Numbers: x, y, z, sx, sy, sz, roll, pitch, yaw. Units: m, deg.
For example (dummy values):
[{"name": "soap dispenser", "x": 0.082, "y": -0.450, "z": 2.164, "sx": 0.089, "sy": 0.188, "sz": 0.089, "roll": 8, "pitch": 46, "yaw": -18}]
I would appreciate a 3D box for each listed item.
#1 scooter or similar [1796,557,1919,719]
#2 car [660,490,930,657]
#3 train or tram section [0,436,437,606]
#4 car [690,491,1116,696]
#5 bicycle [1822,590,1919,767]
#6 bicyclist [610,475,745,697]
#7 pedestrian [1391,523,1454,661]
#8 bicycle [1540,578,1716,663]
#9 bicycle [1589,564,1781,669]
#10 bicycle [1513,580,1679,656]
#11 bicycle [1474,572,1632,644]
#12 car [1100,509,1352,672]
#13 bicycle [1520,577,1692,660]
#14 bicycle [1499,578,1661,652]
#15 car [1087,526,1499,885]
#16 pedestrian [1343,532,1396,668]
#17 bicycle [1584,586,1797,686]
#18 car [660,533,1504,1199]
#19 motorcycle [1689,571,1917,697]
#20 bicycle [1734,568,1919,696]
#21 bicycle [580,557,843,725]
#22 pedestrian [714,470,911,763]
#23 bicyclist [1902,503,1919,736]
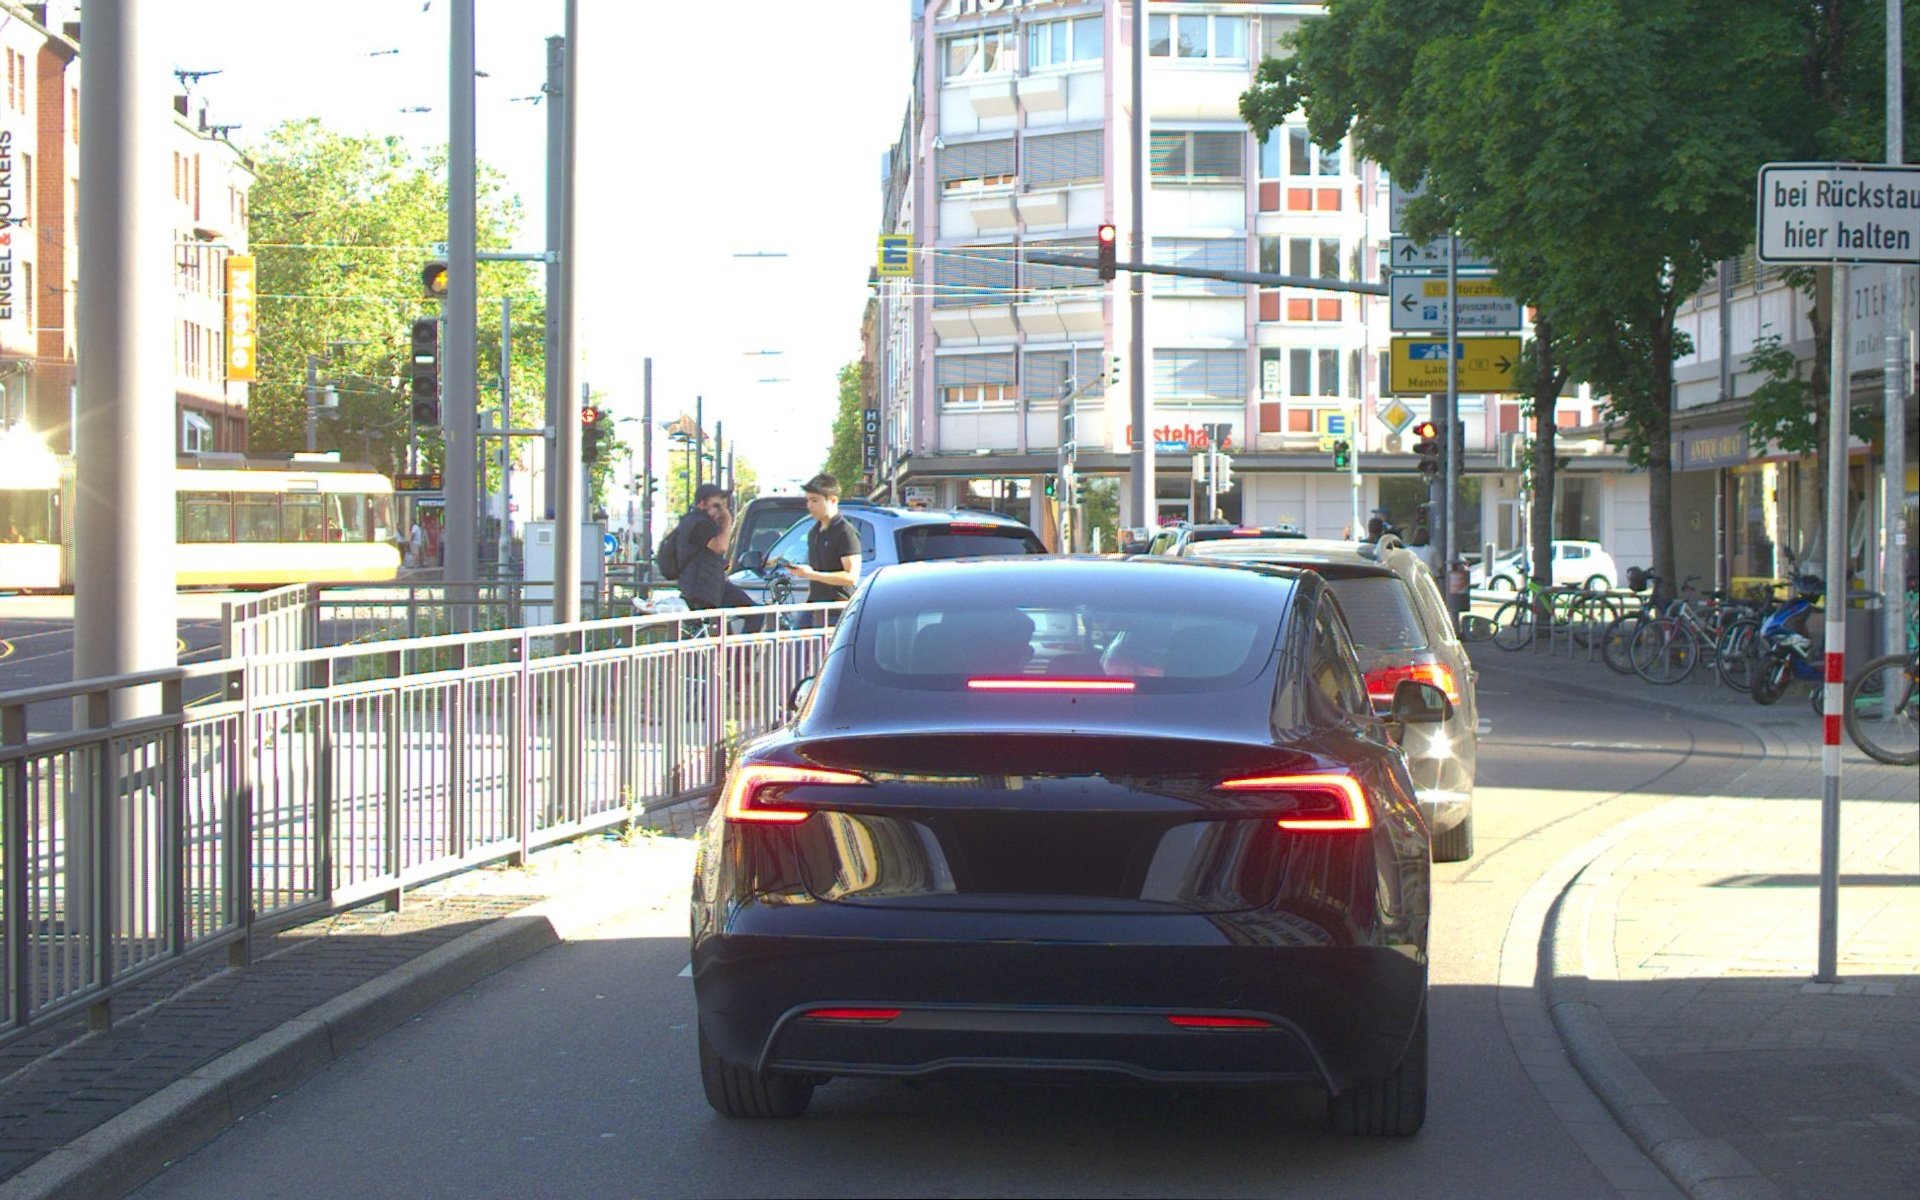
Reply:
[{"name": "scooter or similar", "x": 7.704, "y": 0.309, "z": 28.469, "sx": 1.408, "sy": 1.312, "sz": 0.696, "roll": 0, "pitch": -1, "yaw": -27}, {"name": "car", "x": -1.728, "y": -0.288, "z": 34.527, "sx": 1.824, "sy": 1.514, "sz": 4.219, "roll": 2, "pitch": 1, "yaw": -15}, {"name": "train or tram section", "x": -18.612, "y": -1.789, "z": 83.704, "sx": 2.641, "sy": 3.706, "sz": 15.361, "roll": 2, "pitch": 1, "yaw": 29}, {"name": "car", "x": -0.564, "y": -0.097, "z": 28.236, "sx": 1.783, "sy": 1.514, "sz": 4.219, "roll": 2, "pitch": 1, "yaw": -27}, {"name": "bicycle", "x": 6.432, "y": 0.511, "z": 21.437, "sx": 1.975, "sy": 1.068, "sz": 0.774, "roll": 2, "pitch": 1, "yaw": 17}, {"name": "bicyclist", "x": -1.965, "y": -0.102, "z": 23.876, "sx": 0.836, "sy": 1.494, "sz": 0.560, "roll": 2, "pitch": 1, "yaw": -10}, {"name": "pedestrian", "x": 5.479, "y": -0.101, "z": 40.763, "sx": 0.629, "sy": 1.608, "sz": 0.643, "roll": 1, "pitch": 1, "yaw": 2}, {"name": "bicycle", "x": 7.762, "y": 0.233, "z": 39.971, "sx": 1.924, "sy": 0.947, "sz": 0.526, "roll": 1, "pitch": 1, "yaw": -1}, {"name": "bicycle", "x": 7.789, "y": 0.177, "z": 36.978, "sx": 1.924, "sy": 1.093, "sz": 0.555, "roll": 1, "pitch": 1, "yaw": -1}, {"name": "bicycle", "x": 7.779, "y": 0.217, "z": 42.103, "sx": 1.924, "sy": 0.885, "sz": 0.526, "roll": 1, "pitch": 1, "yaw": -1}, {"name": "bicycle", "x": 7.611, "y": 0.103, "z": 44.132, "sx": 1.924, "sy": 0.887, "sz": 0.526, "roll": 1, "pitch": 1, "yaw": -1}, {"name": "car", "x": 2.660, "y": -0.126, "z": 35.176, "sx": 1.824, "sy": 1.514, "sz": 3.650, "roll": 2, "pitch": 1, "yaw": -7}, {"name": "bicycle", "x": 7.695, "y": 0.217, "z": 40.985, "sx": 1.924, "sy": 0.947, "sz": 0.526, "roll": 1, "pitch": 1, "yaw": -1}, {"name": "bicycle", "x": 7.761, "y": 0.183, "z": 43.083, "sx": 1.924, "sy": 0.887, "sz": 0.526, "roll": 1, "pitch": 1, "yaw": -1}, {"name": "car", "x": 1.666, "y": 0.389, "z": 16.253, "sx": 1.654, "sy": 1.413, "sz": 3.999, "roll": 2, "pitch": 2, "yaw": 8}, {"name": "pedestrian", "x": 5.134, "y": -0.002, "z": 43.095, "sx": 0.562, "sy": 1.677, "sz": 0.750, "roll": 1, "pitch": 1, "yaw": 3}, {"name": "bicycle", "x": 7.444, "y": 0.360, "z": 35.072, "sx": 2.051, "sy": 0.979, "sz": 0.483, "roll": 1, "pitch": 1, "yaw": -1}, {"name": "car", "x": 0.171, "y": 0.589, "z": 9.564, "sx": 1.848, "sy": 1.479, "sz": 3.788, "roll": 2, "pitch": 1, "yaw": -3}, {"name": "motorcycle", "x": 8.075, "y": 0.320, "z": 32.960, "sx": 1.991, "sy": 1.124, "sz": 0.596, "roll": 2, "pitch": 1, "yaw": -2}, {"name": "bicycle", "x": 8.051, "y": 0.285, "z": 30.934, "sx": 2.051, "sy": 1.118, "sz": 0.483, "roll": 1, "pitch": 1, "yaw": -1}, {"name": "bicycle", "x": -1.736, "y": 0.279, "z": 23.874, "sx": 1.727, "sy": 1.084, "sz": 0.678, "roll": 2, "pitch": 1, "yaw": -9}, {"name": "pedestrian", "x": -0.899, "y": 0.099, "z": 20.911, "sx": 1.004, "sy": 1.736, "sz": 0.529, "roll": 2, "pitch": 1, "yaw": -27}, {"name": "bicyclist", "x": 6.373, "y": 0.137, "z": 21.412, "sx": 0.908, "sy": 1.433, "sz": 0.628, "roll": 2, "pitch": 1, "yaw": 16}]
